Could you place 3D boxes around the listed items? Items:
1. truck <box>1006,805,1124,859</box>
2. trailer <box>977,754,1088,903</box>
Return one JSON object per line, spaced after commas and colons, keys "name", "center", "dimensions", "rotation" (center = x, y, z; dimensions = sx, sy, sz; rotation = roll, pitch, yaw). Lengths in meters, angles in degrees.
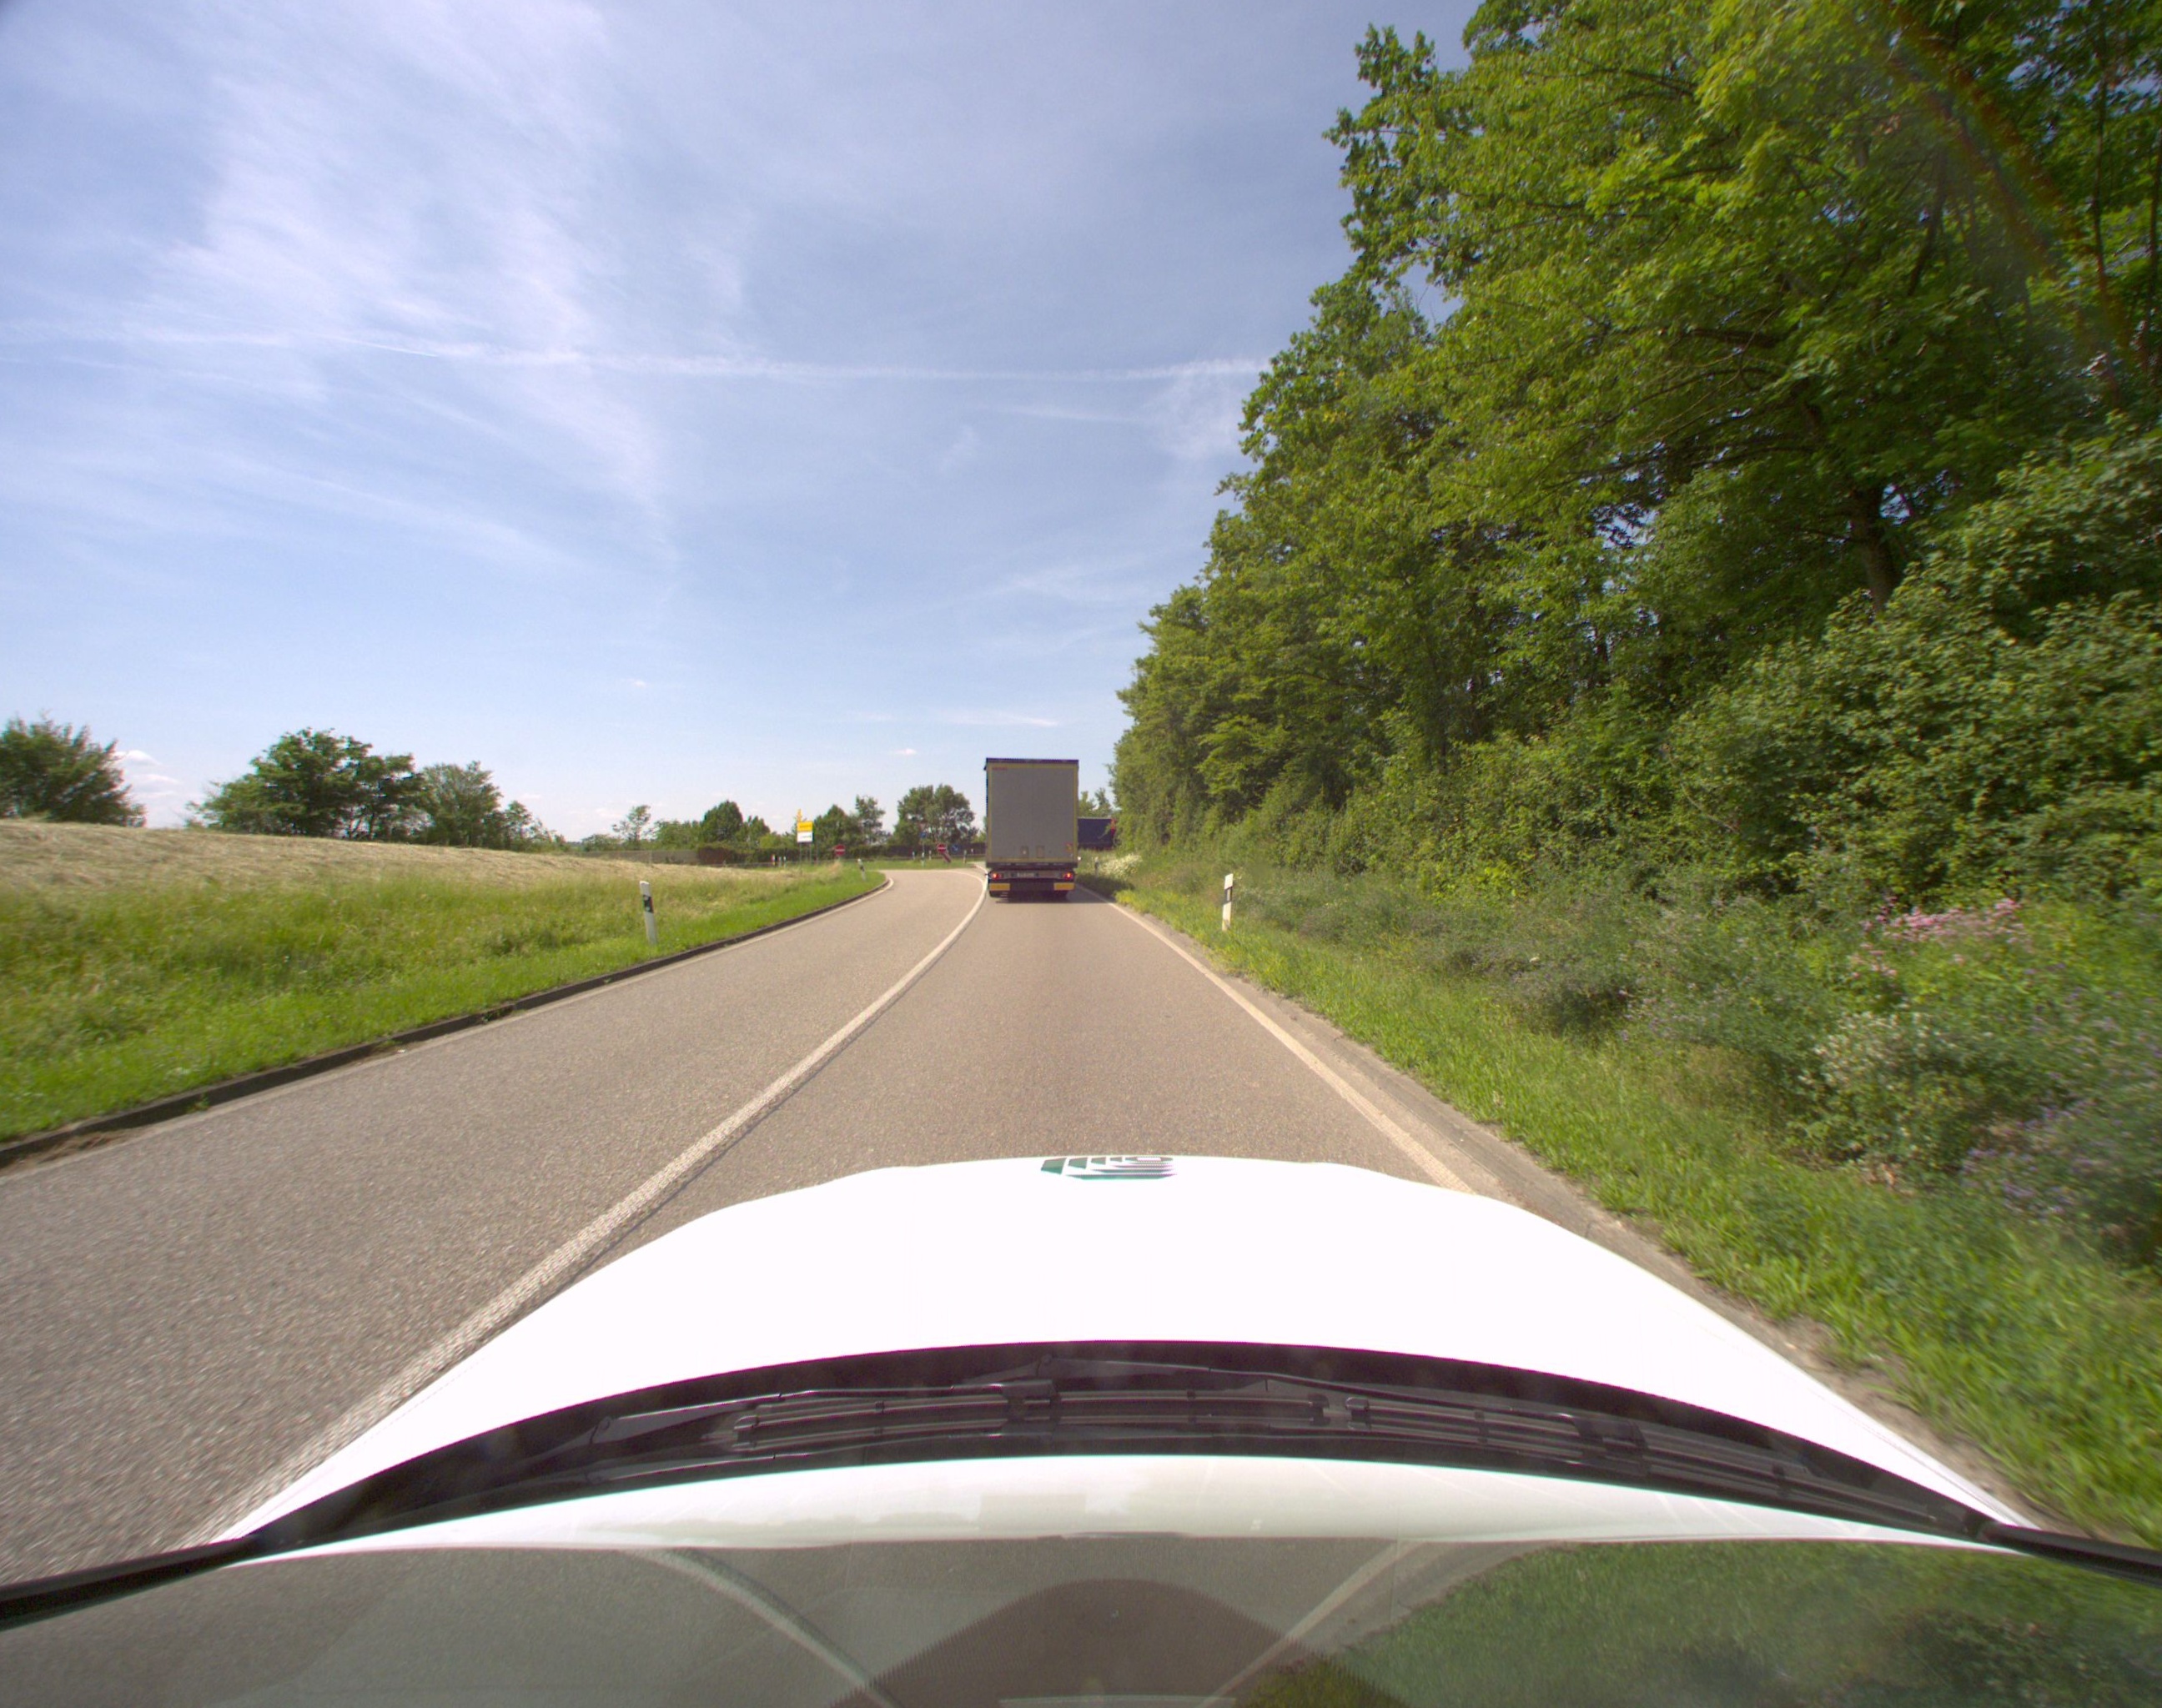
{"name": "truck", "center": [-1.125, -2.136, 80.505], "dimensions": [3.792, 4.744, 16.304], "rotation": [-2, 0, 29]}
{"name": "trailer", "center": [-1.793, -0.760, 28.843], "dimensions": [3.021, 4.034, 13.332], "rotation": [0, 0, -4]}
